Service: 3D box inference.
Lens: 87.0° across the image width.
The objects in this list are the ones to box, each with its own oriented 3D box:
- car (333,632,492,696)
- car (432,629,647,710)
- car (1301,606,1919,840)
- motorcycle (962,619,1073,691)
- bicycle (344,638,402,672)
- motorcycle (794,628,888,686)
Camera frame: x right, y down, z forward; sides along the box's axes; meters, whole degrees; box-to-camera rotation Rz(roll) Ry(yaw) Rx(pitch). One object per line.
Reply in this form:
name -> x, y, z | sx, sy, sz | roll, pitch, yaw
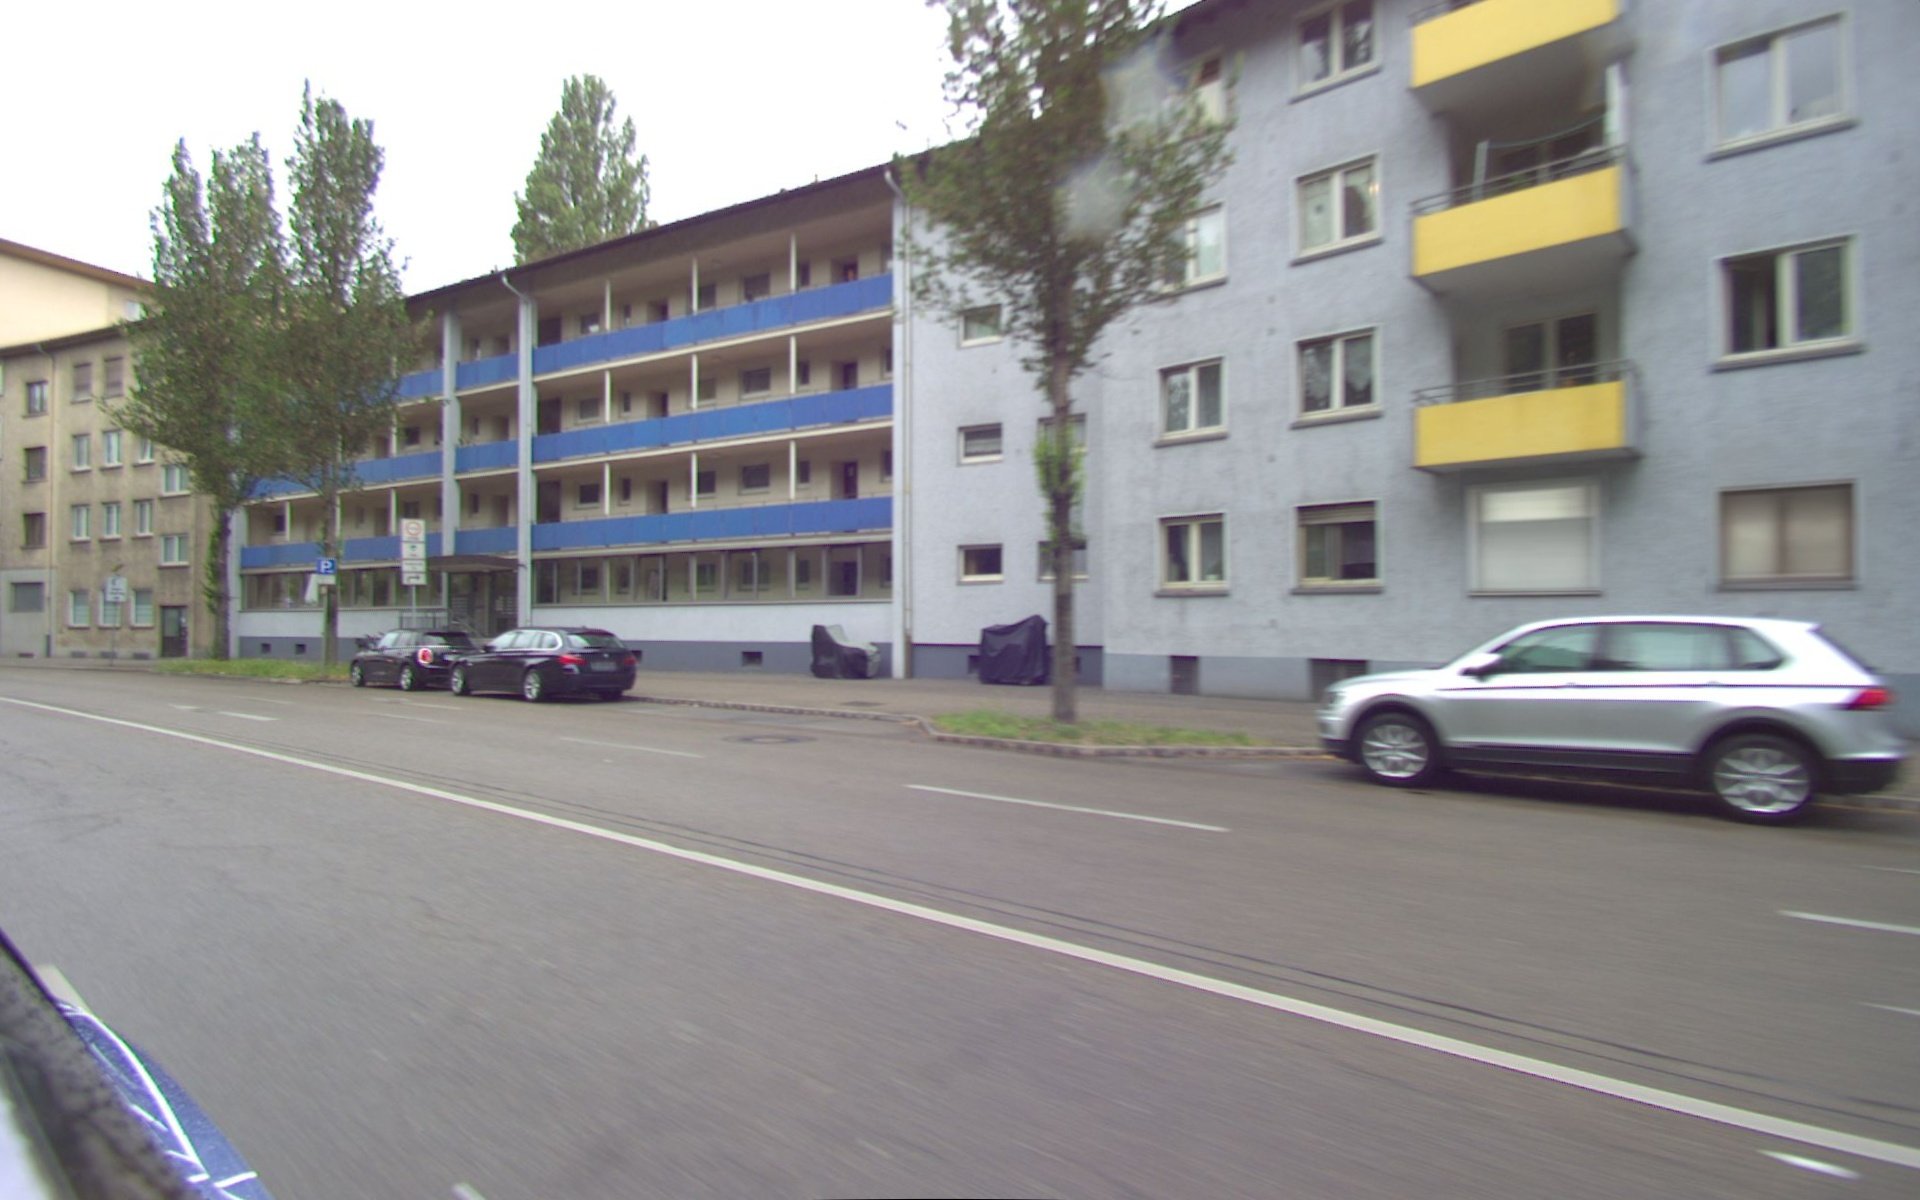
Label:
car -> -13.071, 1.494, 24.089 | 4.081, 1.414, 1.763 | -2, -4, 37
car -> -8.599, 1.346, 20.508 | 4.885, 1.450, 1.803 | -1, -4, 38
car -> 5.578, 0.923, 8.980 | 4.528, 1.616, 1.746 | -2, -3, 39
motorcycle -> 1.188, 1.117, 21.036 | 2.228, 1.424, 0.670 | -1, 0, 31
bicycle -> -18.395, 1.707, 31.705 | 1.721, 1.031, 0.609 | -1, -2, 21
motorcycle -> -2.766, 1.301, 23.398 | 2.230, 1.263, 0.670 | -1, 0, 33
